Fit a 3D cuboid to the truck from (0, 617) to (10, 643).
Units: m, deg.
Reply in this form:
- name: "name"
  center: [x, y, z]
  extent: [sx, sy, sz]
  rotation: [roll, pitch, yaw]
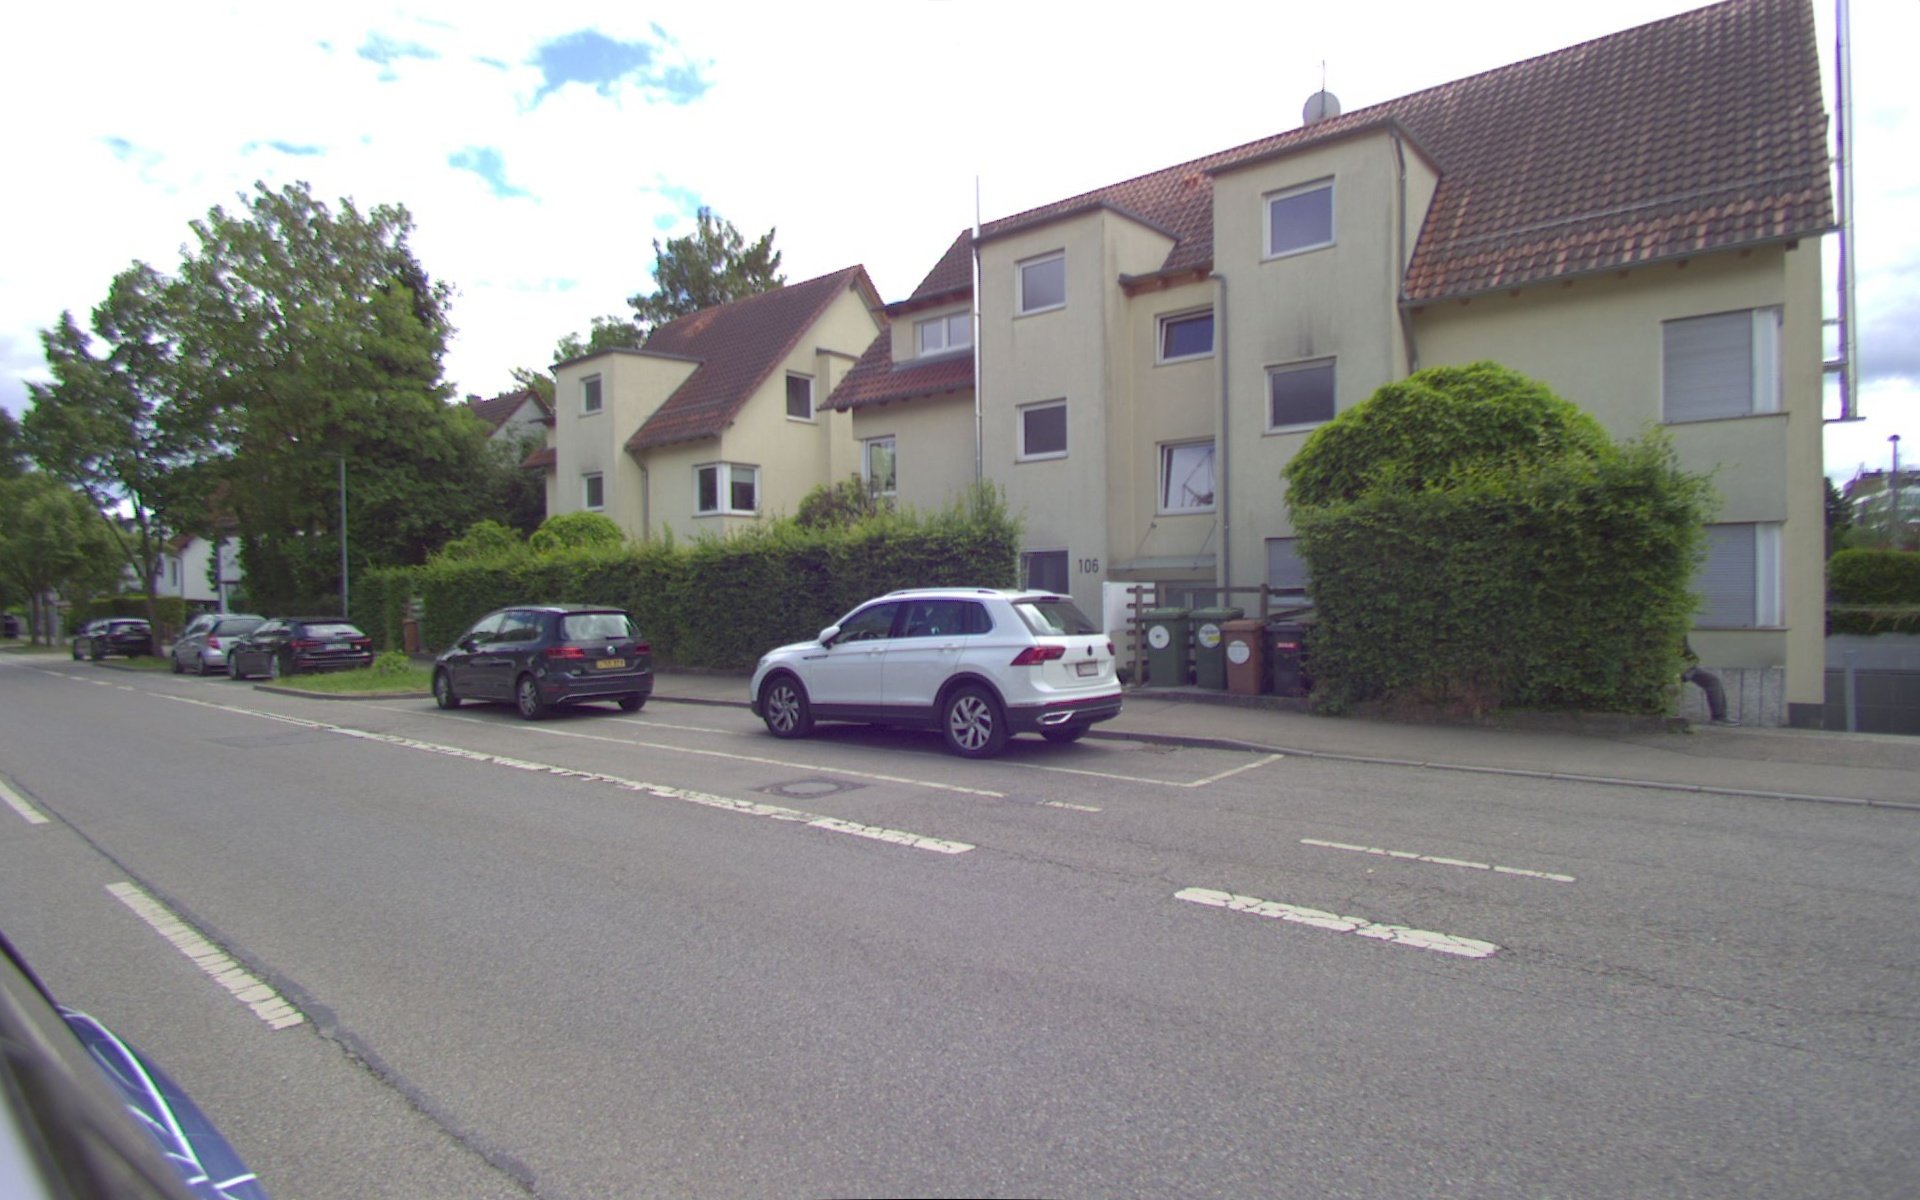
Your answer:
- name: "truck"
  center: [-72.327, 2.209, 75.335]
  extent: [5.665, 1.882, 1.945]
  rotation: [-1, -2, 43]

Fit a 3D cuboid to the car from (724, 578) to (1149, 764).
- name: "car"
  center: [-0.407, 0.671, 11.125]
  extent: [4.580, 1.646, 1.803]
  rotation: [-1, -1, 38]

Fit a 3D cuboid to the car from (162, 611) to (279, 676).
- name: "car"
  center: [-19.939, 1.126, 27.245]
  extent: [3.907, 1.625, 1.701]
  rotation: [-1, -1, 40]

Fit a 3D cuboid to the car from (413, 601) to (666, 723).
- name: "car"
  center: [-6.337, 0.833, 15.046]
  extent: [4.268, 1.563, 1.660]
  rotation: [-1, -1, 39]

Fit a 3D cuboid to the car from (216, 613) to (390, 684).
- name: "car"
  center: [-15.539, 1.082, 23.847]
  extent: [4.884, 1.496, 1.974]
  rotation: [-1, -1, 38]

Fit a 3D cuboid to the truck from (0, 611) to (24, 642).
- name: "truck"
  center: [-66.977, 1.822, 70.288]
  extent: [5.994, 2.059, 2.397]
  rotation: [-1, 0, 42]

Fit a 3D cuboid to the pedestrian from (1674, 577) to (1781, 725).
- name: "pedestrian"
  center: [8.605, 0.551, 11.351]
  extent: [0.662, 1.572, 0.837]
  rotation: [0, -1, -44]

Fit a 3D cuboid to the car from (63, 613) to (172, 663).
- name: "car"
  center: [-30.373, 1.341, 36.441]
  extent: [5.033, 1.659, 2.074]
  rotation: [-2, -2, 39]
